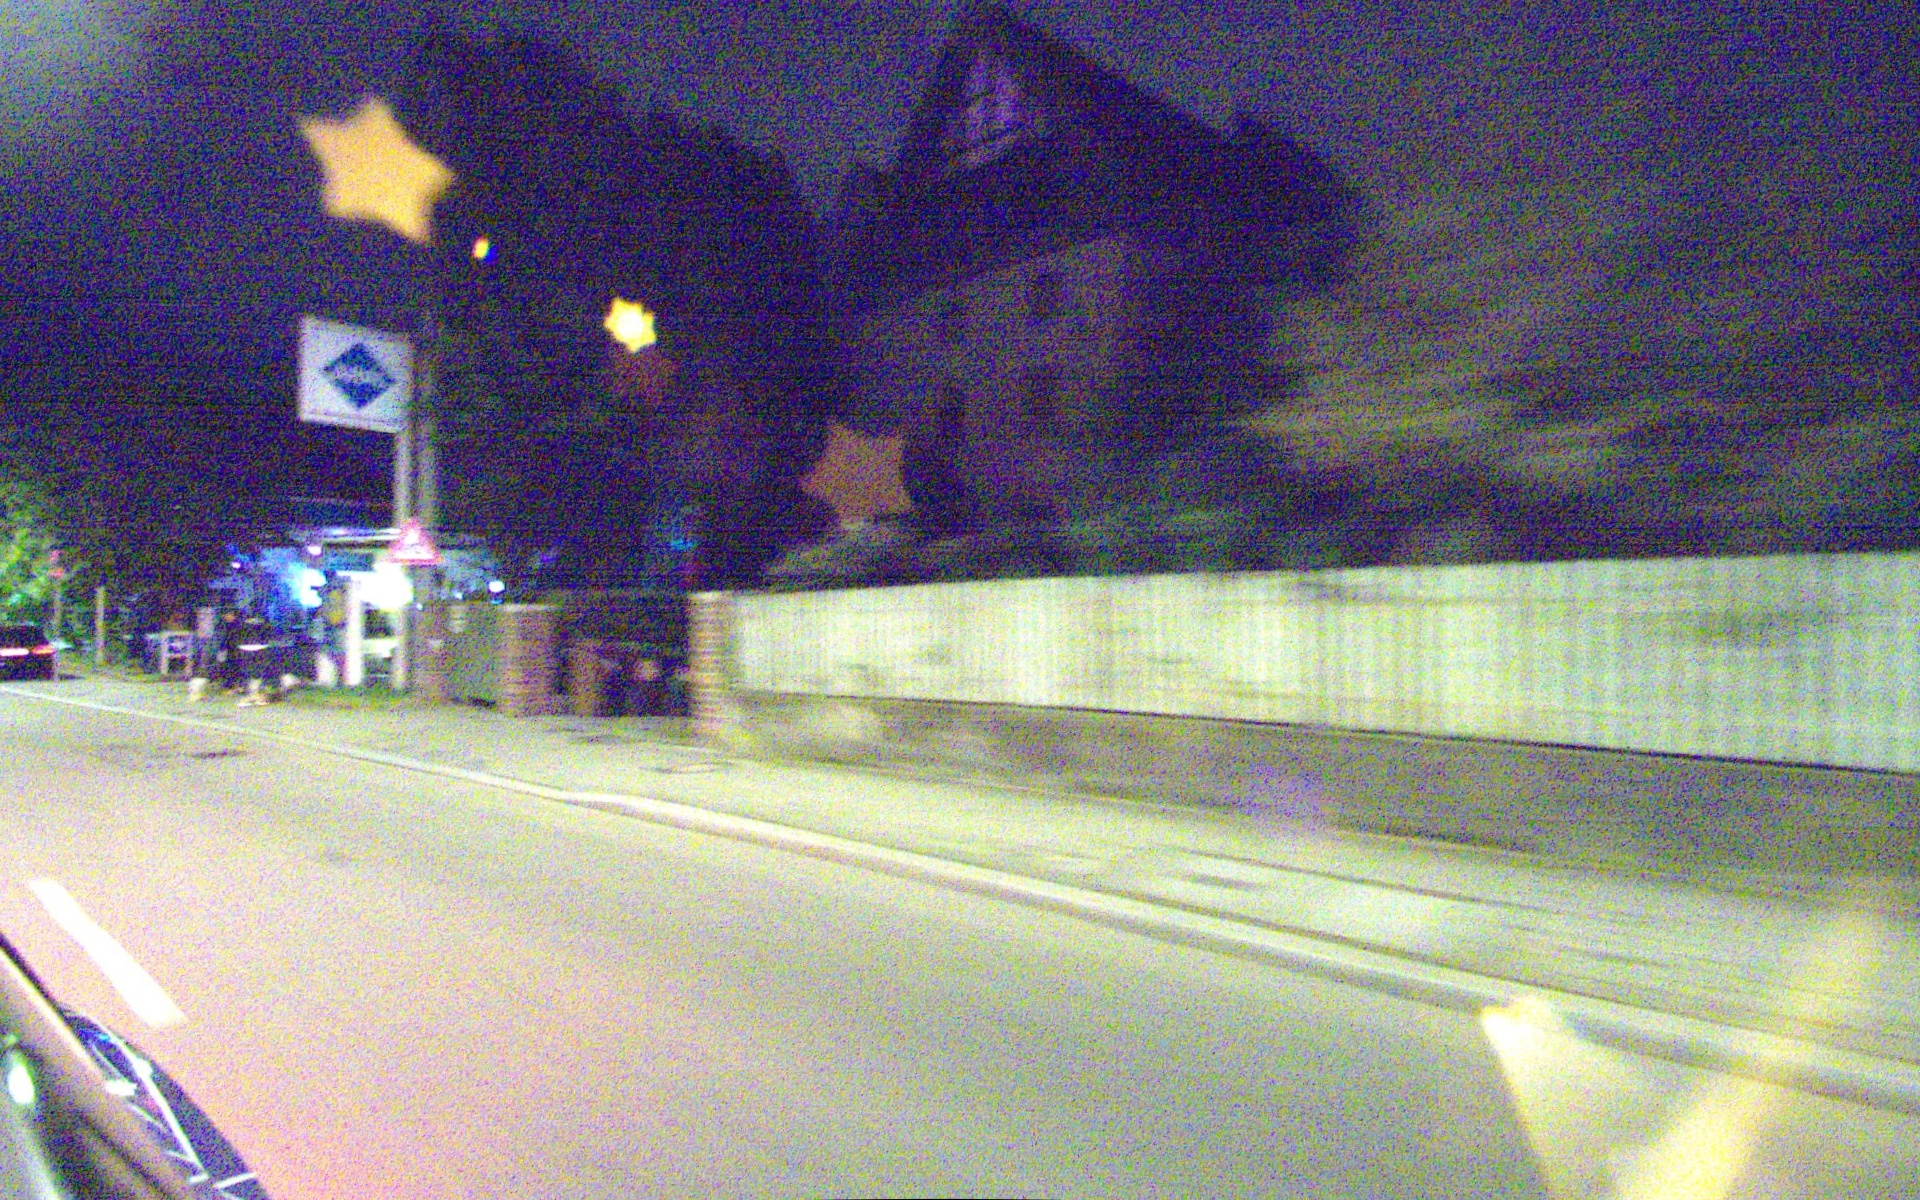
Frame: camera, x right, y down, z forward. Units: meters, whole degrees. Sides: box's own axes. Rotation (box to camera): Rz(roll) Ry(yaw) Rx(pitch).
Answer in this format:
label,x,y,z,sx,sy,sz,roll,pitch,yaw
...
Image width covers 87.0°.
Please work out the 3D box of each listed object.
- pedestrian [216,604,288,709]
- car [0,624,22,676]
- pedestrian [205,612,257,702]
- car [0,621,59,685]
label,x,y,z,sx,sy,sz,roll,pitch,yaw
pedestrian,-11.794,0.914,16.856,1.103,1.684,0.734,-1,-1,41
car,-29.463,1.514,30.102,3.894,1.477,1.841,-2,1,41
pedestrian,-14.519,1.121,20.145,0.866,1.739,0.662,-2,-1,41
car,-25.512,1.382,26.793,4.585,1.544,1.841,-2,1,41
